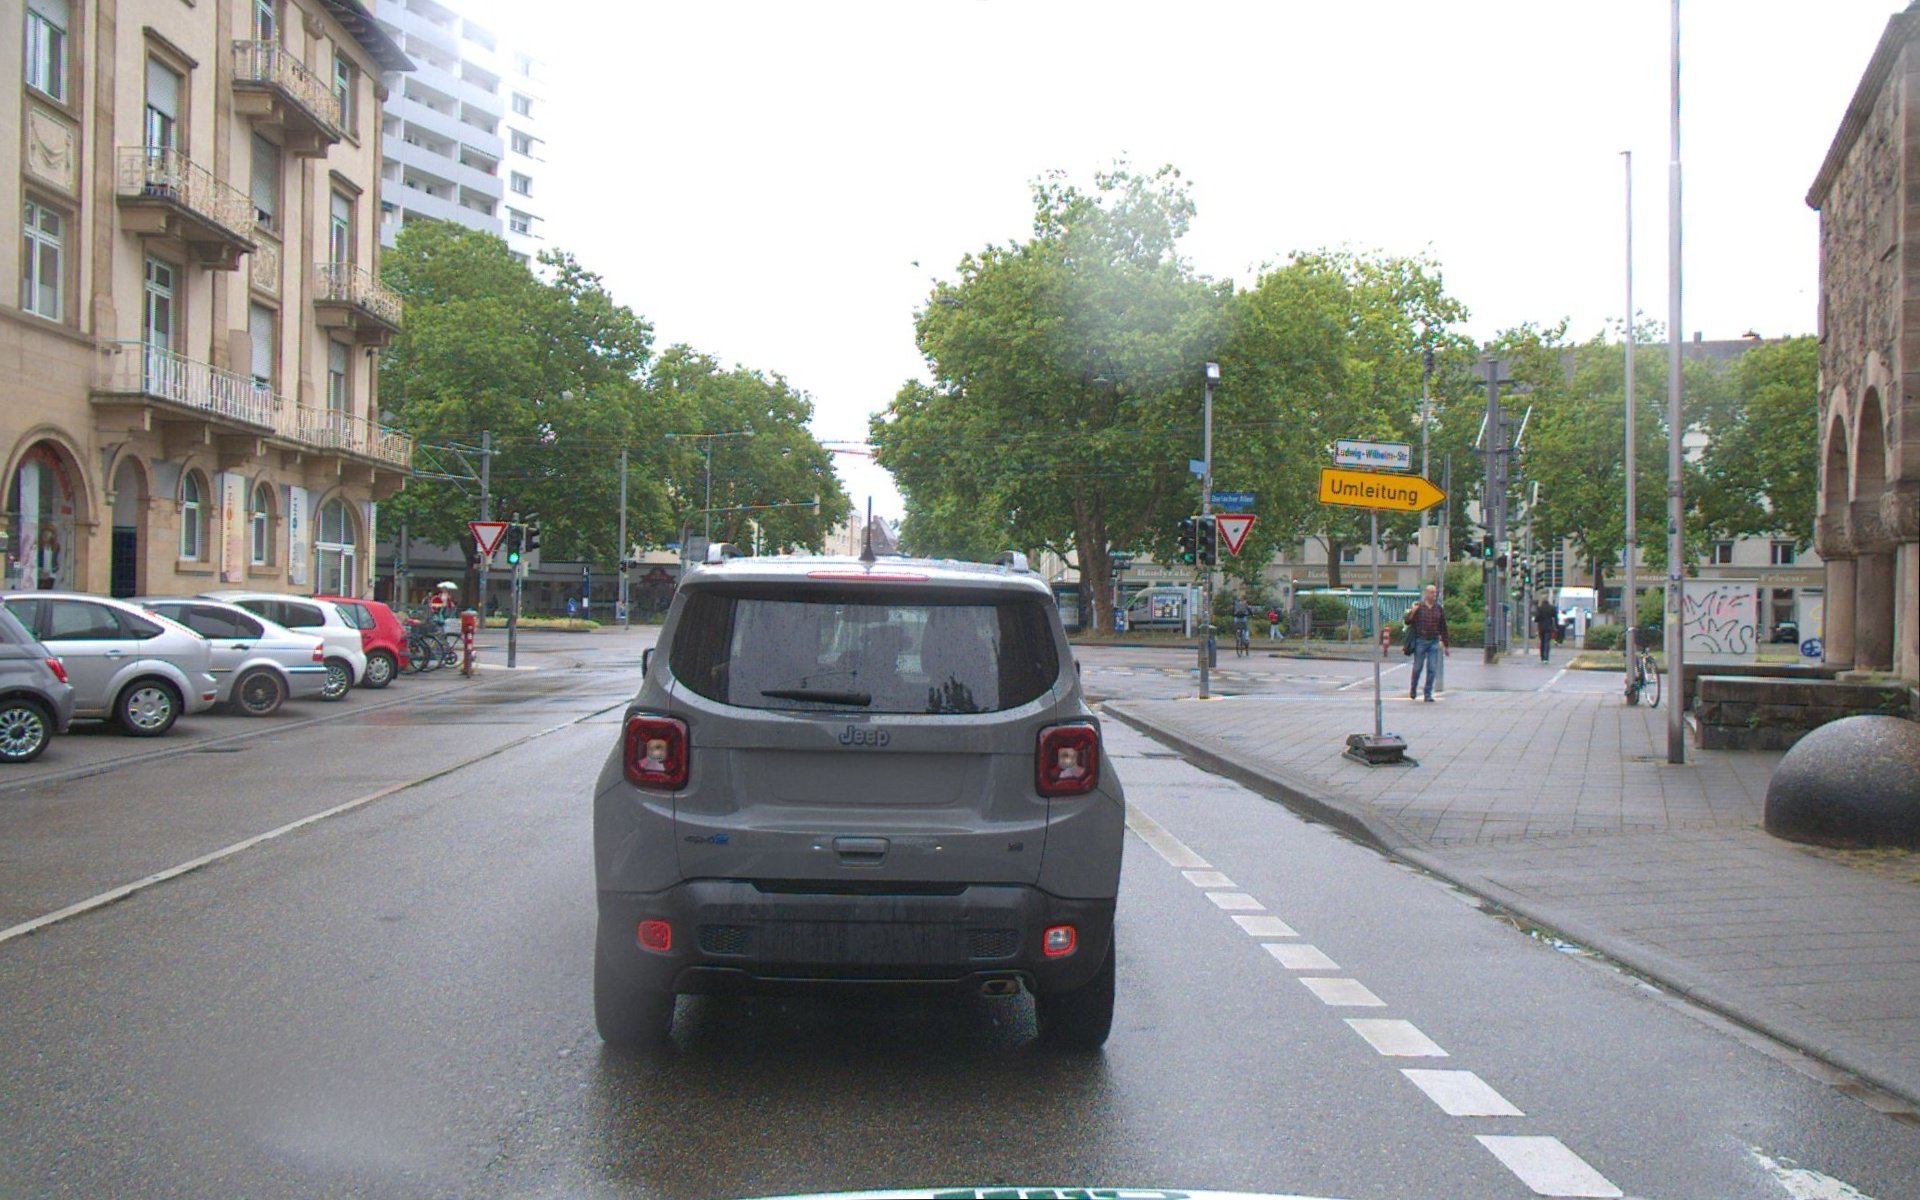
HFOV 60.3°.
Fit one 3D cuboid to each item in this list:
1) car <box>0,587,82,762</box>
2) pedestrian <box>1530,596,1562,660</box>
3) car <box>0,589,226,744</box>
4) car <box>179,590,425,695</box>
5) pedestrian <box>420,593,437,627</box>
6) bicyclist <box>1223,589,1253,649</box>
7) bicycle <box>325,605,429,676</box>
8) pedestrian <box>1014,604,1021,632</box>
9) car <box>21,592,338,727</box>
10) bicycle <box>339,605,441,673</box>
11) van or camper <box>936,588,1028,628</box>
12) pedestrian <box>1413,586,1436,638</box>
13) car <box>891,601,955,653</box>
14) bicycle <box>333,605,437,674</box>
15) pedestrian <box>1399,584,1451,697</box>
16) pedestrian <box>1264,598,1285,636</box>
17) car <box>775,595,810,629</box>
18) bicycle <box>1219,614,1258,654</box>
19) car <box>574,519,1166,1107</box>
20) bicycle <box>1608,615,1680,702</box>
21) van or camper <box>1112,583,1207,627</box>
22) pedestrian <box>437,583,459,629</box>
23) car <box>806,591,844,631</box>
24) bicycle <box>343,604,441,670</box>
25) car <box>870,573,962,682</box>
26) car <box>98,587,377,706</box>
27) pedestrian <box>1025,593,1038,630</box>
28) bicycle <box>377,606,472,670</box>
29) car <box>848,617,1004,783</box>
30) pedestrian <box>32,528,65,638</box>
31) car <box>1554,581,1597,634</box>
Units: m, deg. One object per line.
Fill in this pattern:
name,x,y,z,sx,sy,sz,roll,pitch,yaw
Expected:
car,-9.977,0.661,14.928,3.372,1.585,1.628,1,0,-41
pedestrian,15.575,0.740,43.969,0.767,1.674,0.655,0,0,23
car,-9.987,0.680,17.949,3.372,1.585,1.681,1,0,-41
car,-10.684,0.658,26.936,3.372,1.585,1.681,1,0,-41
pedestrian,-24.926,0.460,77.543,0.433,1.556,0.643,0,0,24
bicyclist,7.756,0.524,46.093,0.672,1.646,0.884,0,0,19
bicycle,-10.809,0.748,30.674,1.728,1.288,0.522,0,0,-3
pedestrian,3.567,1.094,102.543,0.448,1.733,0.424,1,0,-1
car,-9.957,0.707,21.203,3.372,1.585,1.681,1,0,-41
bicycle,-10.980,0.748,31.901,1.774,1.288,0.498,0,0,-3
van or camper,1.640,0.584,124.042,6.397,2.963,2.492,0,0,26
pedestrian,18.652,0.474,66.382,0.789,2.049,0.589,0,0,26
car,-0.911,0.660,42.340,1.560,1.274,3.574,1,0,0
bicycle,-10.838,0.740,31.221,1.774,1.288,0.498,0,0,-3
pedestrian,7.508,0.637,26.754,0.769,1.790,0.946,0,0,13
pedestrian,13.068,0.712,68.755,0.660,1.581,0.761,0,-2,27
car,-8.699,0.623,86.030,1.779,1.700,3.916,1,0,-6
bicycle,7.797,0.932,46.212,0.677,1.039,2.659,0,0,18
car,-0.327,0.620,6.812,1.739,1.716,3.846,0,0,-2
bicycle,9.837,0.819,23.846,0.322,1.174,2.076,0,0,4
van or camper,11.290,0.286,93.886,5.149,2.356,2.090,1,0,2
pedestrian,-20.690,0.228,66.828,0.605,1.858,0.695,0,0,12
car,-6.153,0.507,75.336,1.688,1.769,3.726,1,0,-5
bicycle,-11.296,0.730,32.922,1.728,1.288,0.608,0,0,-3
car,-0.877,0.522,33.466,1.734,2.049,3.999,0,0,-2
car,-10.388,0.633,23.863,3.372,1.585,1.681,1,0,-41
pedestrian,3.953,0.631,91.594,0.637,2.049,0.483,0,0,11
bicycle,-10.937,0.778,33.809,1.728,1.288,0.608,0,0,-3
car,-0.331,0.881,15.935,1.336,1.400,3.311,0,0,-1
pedestrian,-15.442,-0.279,28.020,0.359,1.854,0.347,0,-1,-4
car,31.045,0.377,83.312,1.868,2.600,4.786,0,0,22
